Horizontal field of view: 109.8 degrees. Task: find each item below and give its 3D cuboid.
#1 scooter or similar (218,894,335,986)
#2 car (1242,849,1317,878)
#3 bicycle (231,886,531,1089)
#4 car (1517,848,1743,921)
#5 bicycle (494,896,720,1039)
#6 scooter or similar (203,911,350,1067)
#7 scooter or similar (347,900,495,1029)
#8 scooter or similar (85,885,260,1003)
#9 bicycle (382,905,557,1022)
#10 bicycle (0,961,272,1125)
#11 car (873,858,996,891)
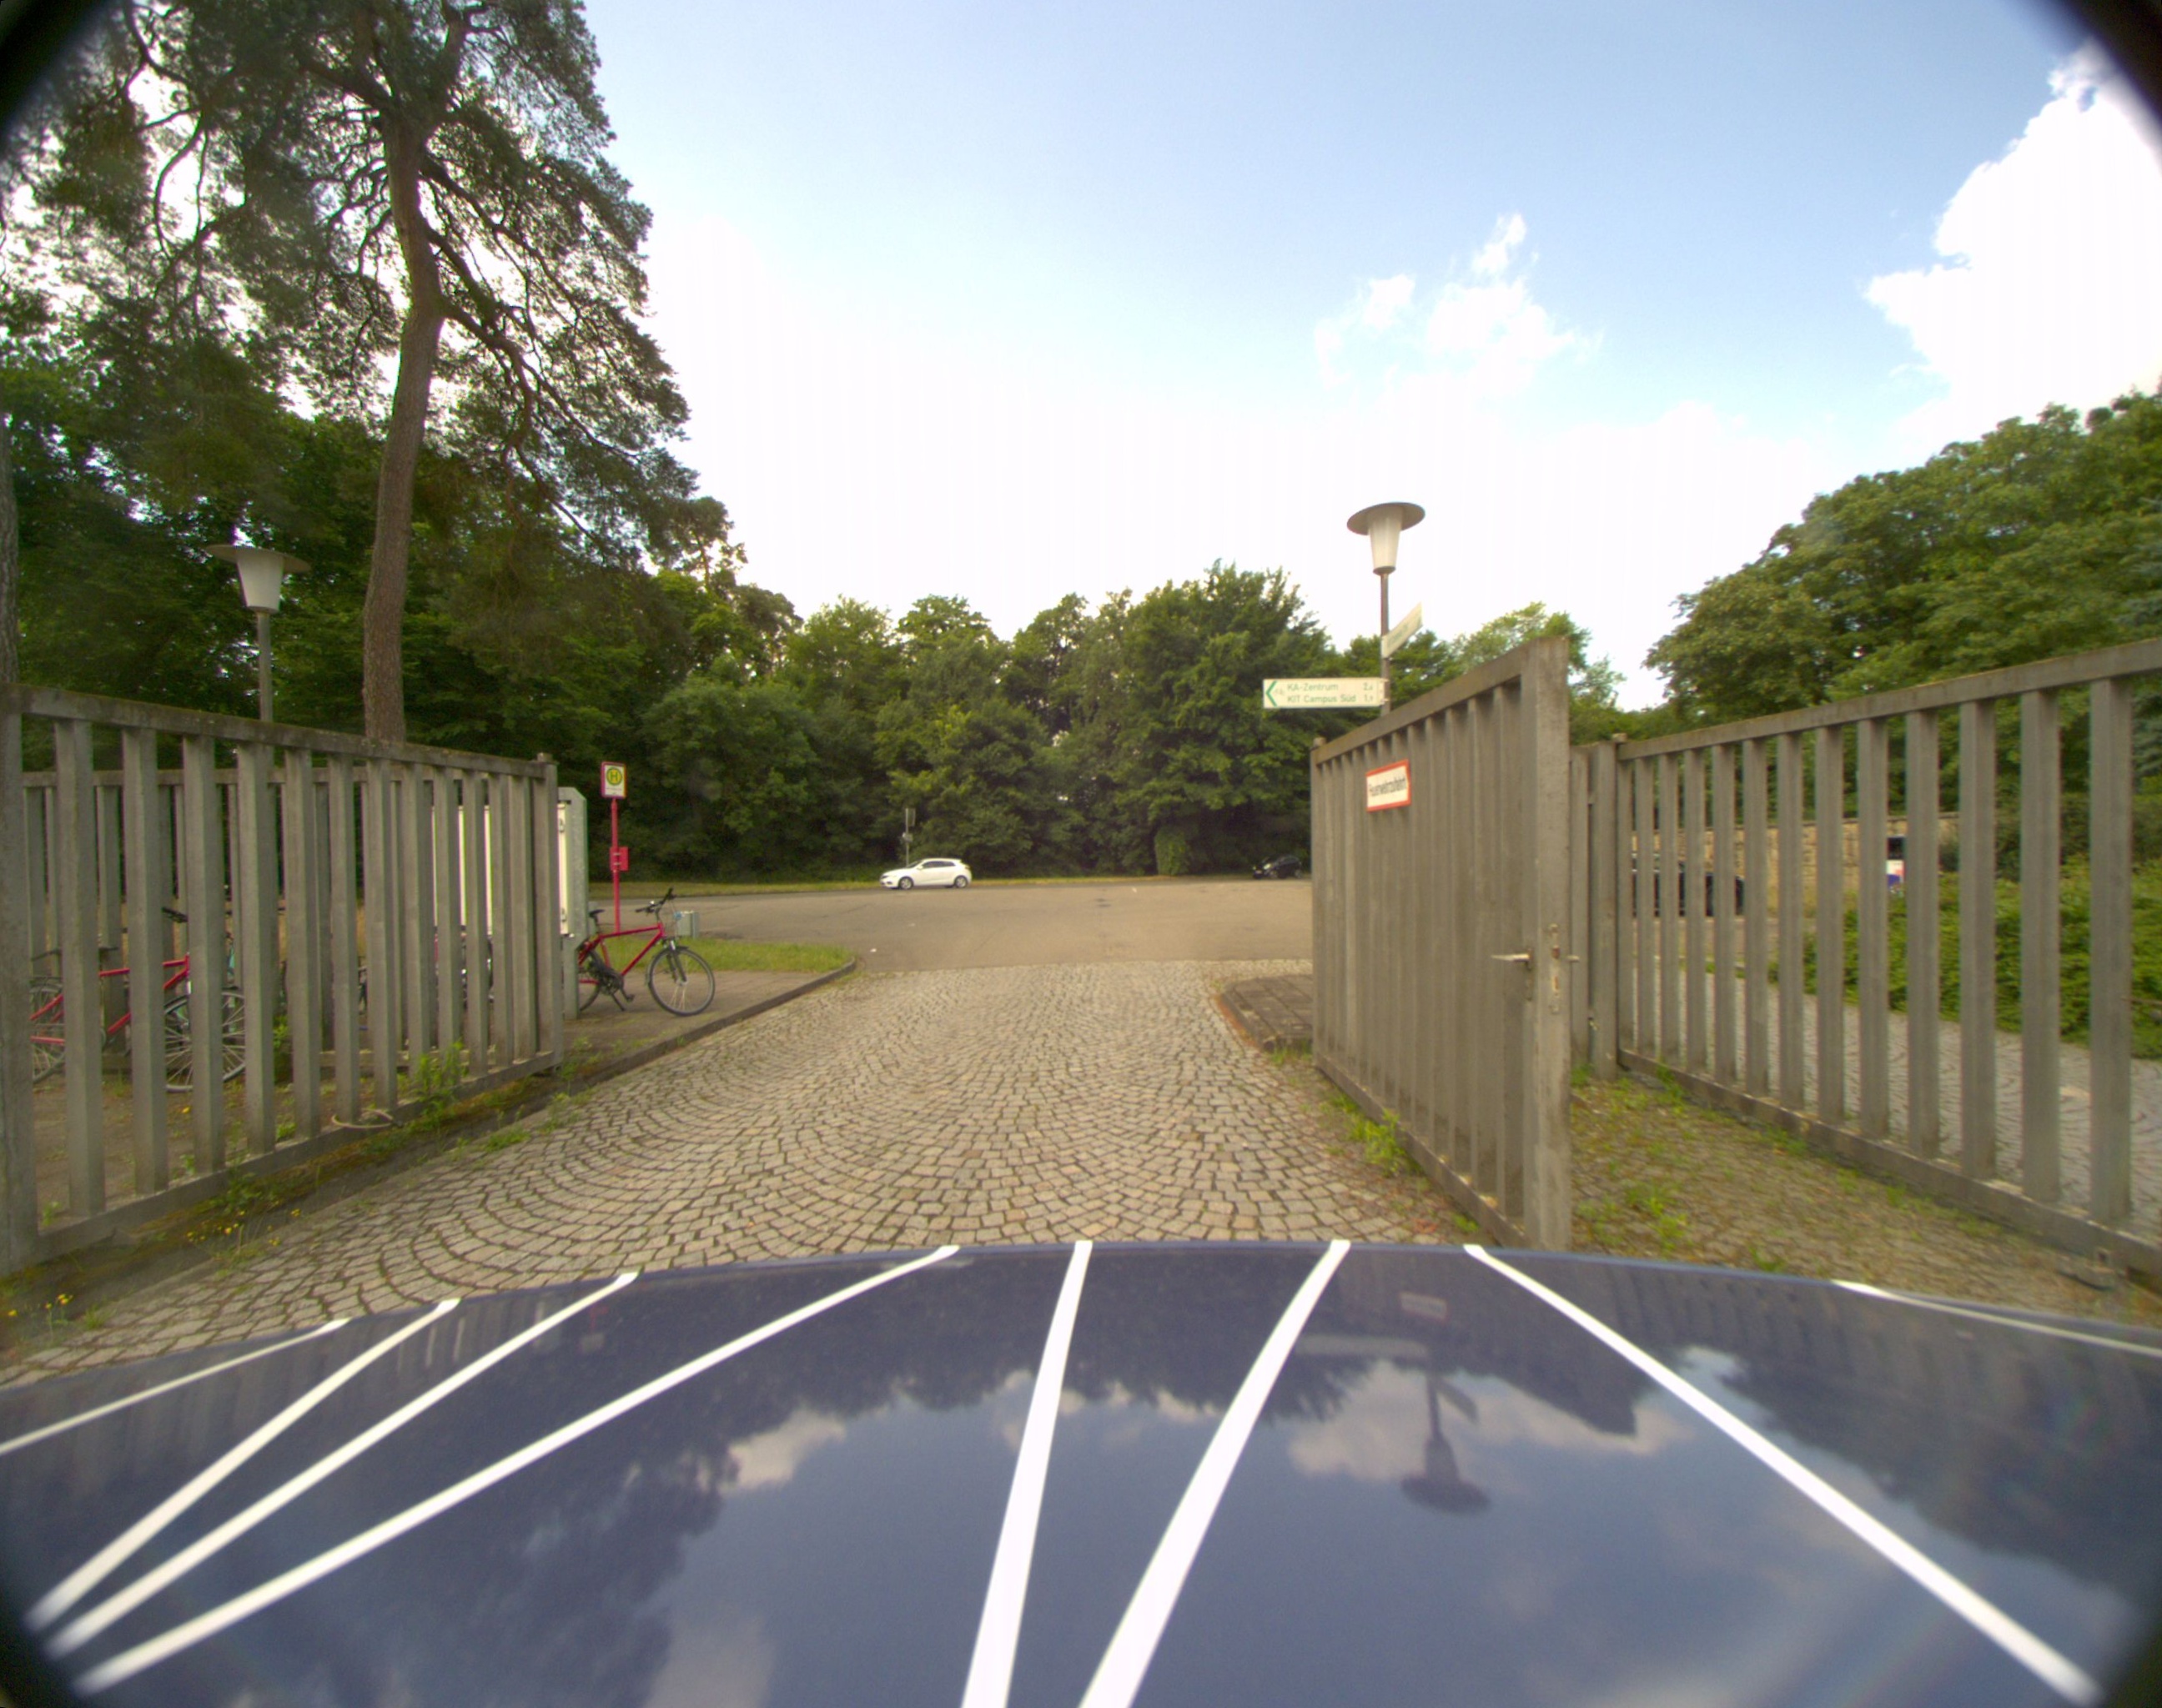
[{"bbox_3d":[-11.145,1.185,10.546,1.090,1.221,0.438,1,2,-3],"label":"scooter or similar"},{"bbox_3d":[11.932,0.556,45.772,4.005,1.674,1.996,-1,0,-24],"label":"car"},{"bbox_3d":[-5.277,0.969,5.764,1.904,1.409,0.516,0,2,7],"label":"bicycle"},{"bbox_3d":[13.128,0.701,18.379,3.996,1.537,1.900,-2,0,4],"label":"car"},{"bbox_3d":[-4.531,1.072,7.347,1.739,1.270,0.672,1,1,-2],"label":"bicycle"},{"bbox_3d":[-7.009,1.121,6.678,0.439,1.143,1.249,-1,0,-26],"label":"scooter or similar"},{"bbox_3d":[-6.733,1.110,7.762,1.282,1.238,0.386,0,1,8],"label":"scooter or similar"},{"bbox_3d":[-11.225,1.124,9.419,1.251,1.406,0.531,0,-12,3],"label":"scooter or similar"},{"bbox_3d":[-6.698,1.170,8.343,1.608,1.155,0.623,0,-1,13],"label":"bicycle"},{"bbox_3d":[-6.545,1.225,5.034,1.950,0.962,0.457,-1,1,3],"label":"bicycle"},{"bbox_3d":[-6.948,0.921,36.211,5.421,1.370,1.995,-1,0,-30],"label":"car"}]
